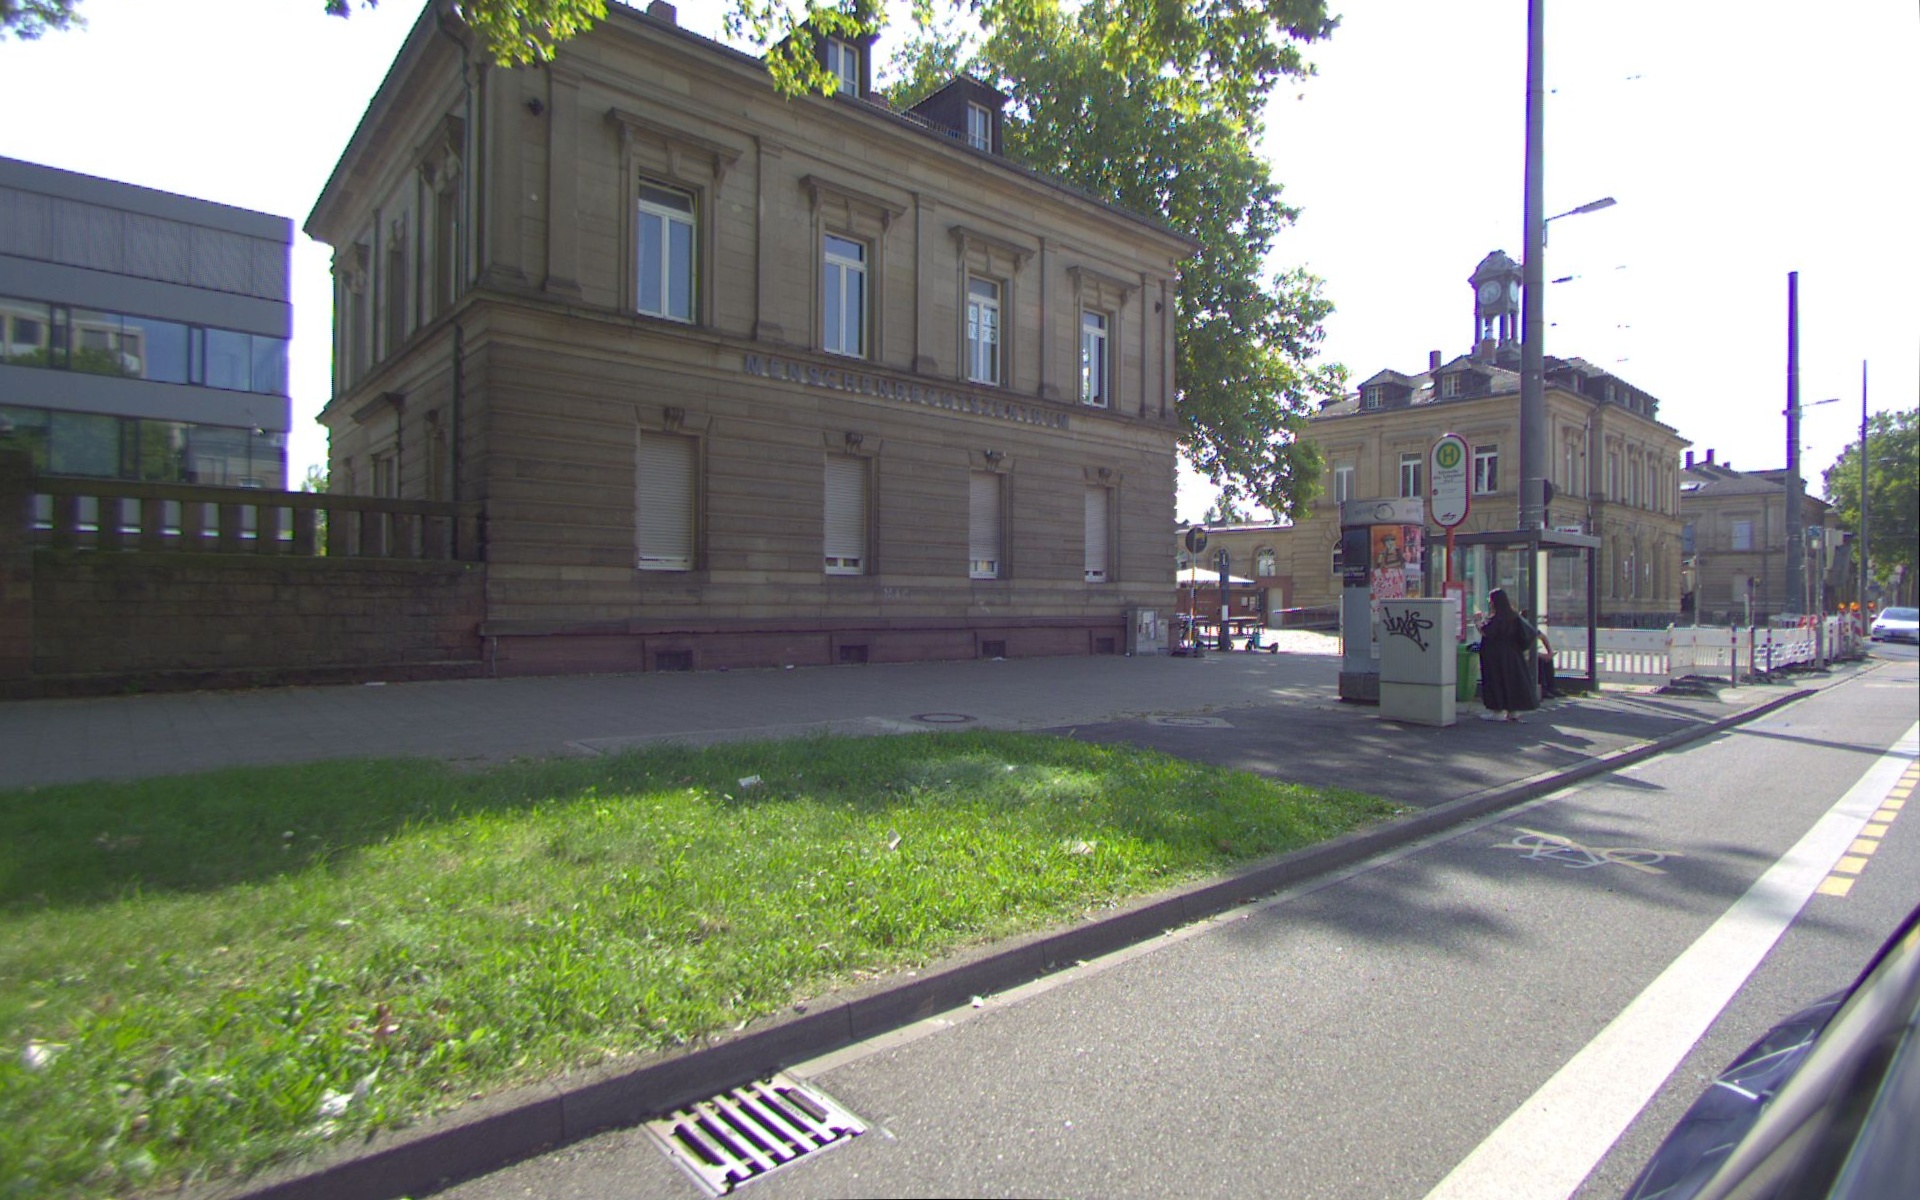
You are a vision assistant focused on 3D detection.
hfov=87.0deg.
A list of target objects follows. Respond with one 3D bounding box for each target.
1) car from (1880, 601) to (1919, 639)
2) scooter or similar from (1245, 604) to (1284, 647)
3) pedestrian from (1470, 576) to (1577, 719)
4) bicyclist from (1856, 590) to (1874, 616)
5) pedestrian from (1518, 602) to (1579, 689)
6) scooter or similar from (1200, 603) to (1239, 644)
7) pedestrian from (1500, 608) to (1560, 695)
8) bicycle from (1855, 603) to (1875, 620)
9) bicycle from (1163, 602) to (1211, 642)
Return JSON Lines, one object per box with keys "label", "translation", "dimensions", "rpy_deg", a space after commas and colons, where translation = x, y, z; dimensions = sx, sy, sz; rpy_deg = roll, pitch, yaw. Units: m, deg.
{"label": "car", "translation": [38.914, 0.785, 41.106], "dimensions": [3.930, 1.478, 1.843], "rpy_deg": [0, 0, -41]}
{"label": "scooter or similar", "translation": [8.529, 0.711, 28.361], "dimensions": [1.203, 1.181, 0.410], "rpy_deg": [1, 0, -37]}
{"label": "pedestrian", "translation": [6.737, 0.544, 12.136], "dimensions": [0.870, 1.646, 0.820], "rpy_deg": [1, 0, 9]}
{"label": "bicyclist", "translation": [58.591, 0.195, 65.515], "dimensions": [0.838, 1.646, 0.736], "rpy_deg": [1, 0, -41]}
{"label": "pedestrian", "translation": [9.120, 0.687, 15.685], "dimensions": [0.746, 1.293, 0.609], "rpy_deg": [1, 1, -44]}
{"label": "scooter or similar", "translation": [7.450, 0.674, 29.097], "dimensions": [0.307, 1.147, 1.092], "rpy_deg": [1, 0, -44]}
{"label": "pedestrian", "translation": [8.533, 0.753, 15.144], "dimensions": [0.565, 1.233, 0.609], "rpy_deg": [1, 1, -44]}
{"label": "bicycle", "translation": [58.605, 0.740, 65.529], "dimensions": [2.095, 1.045, 0.743], "rpy_deg": [0, 0, -41]}
{"label": "bicycle", "translation": [6.919, 0.673, 30.787], "dimensions": [1.599, 1.181, 0.499], "rpy_deg": [1, 0, -37]}
